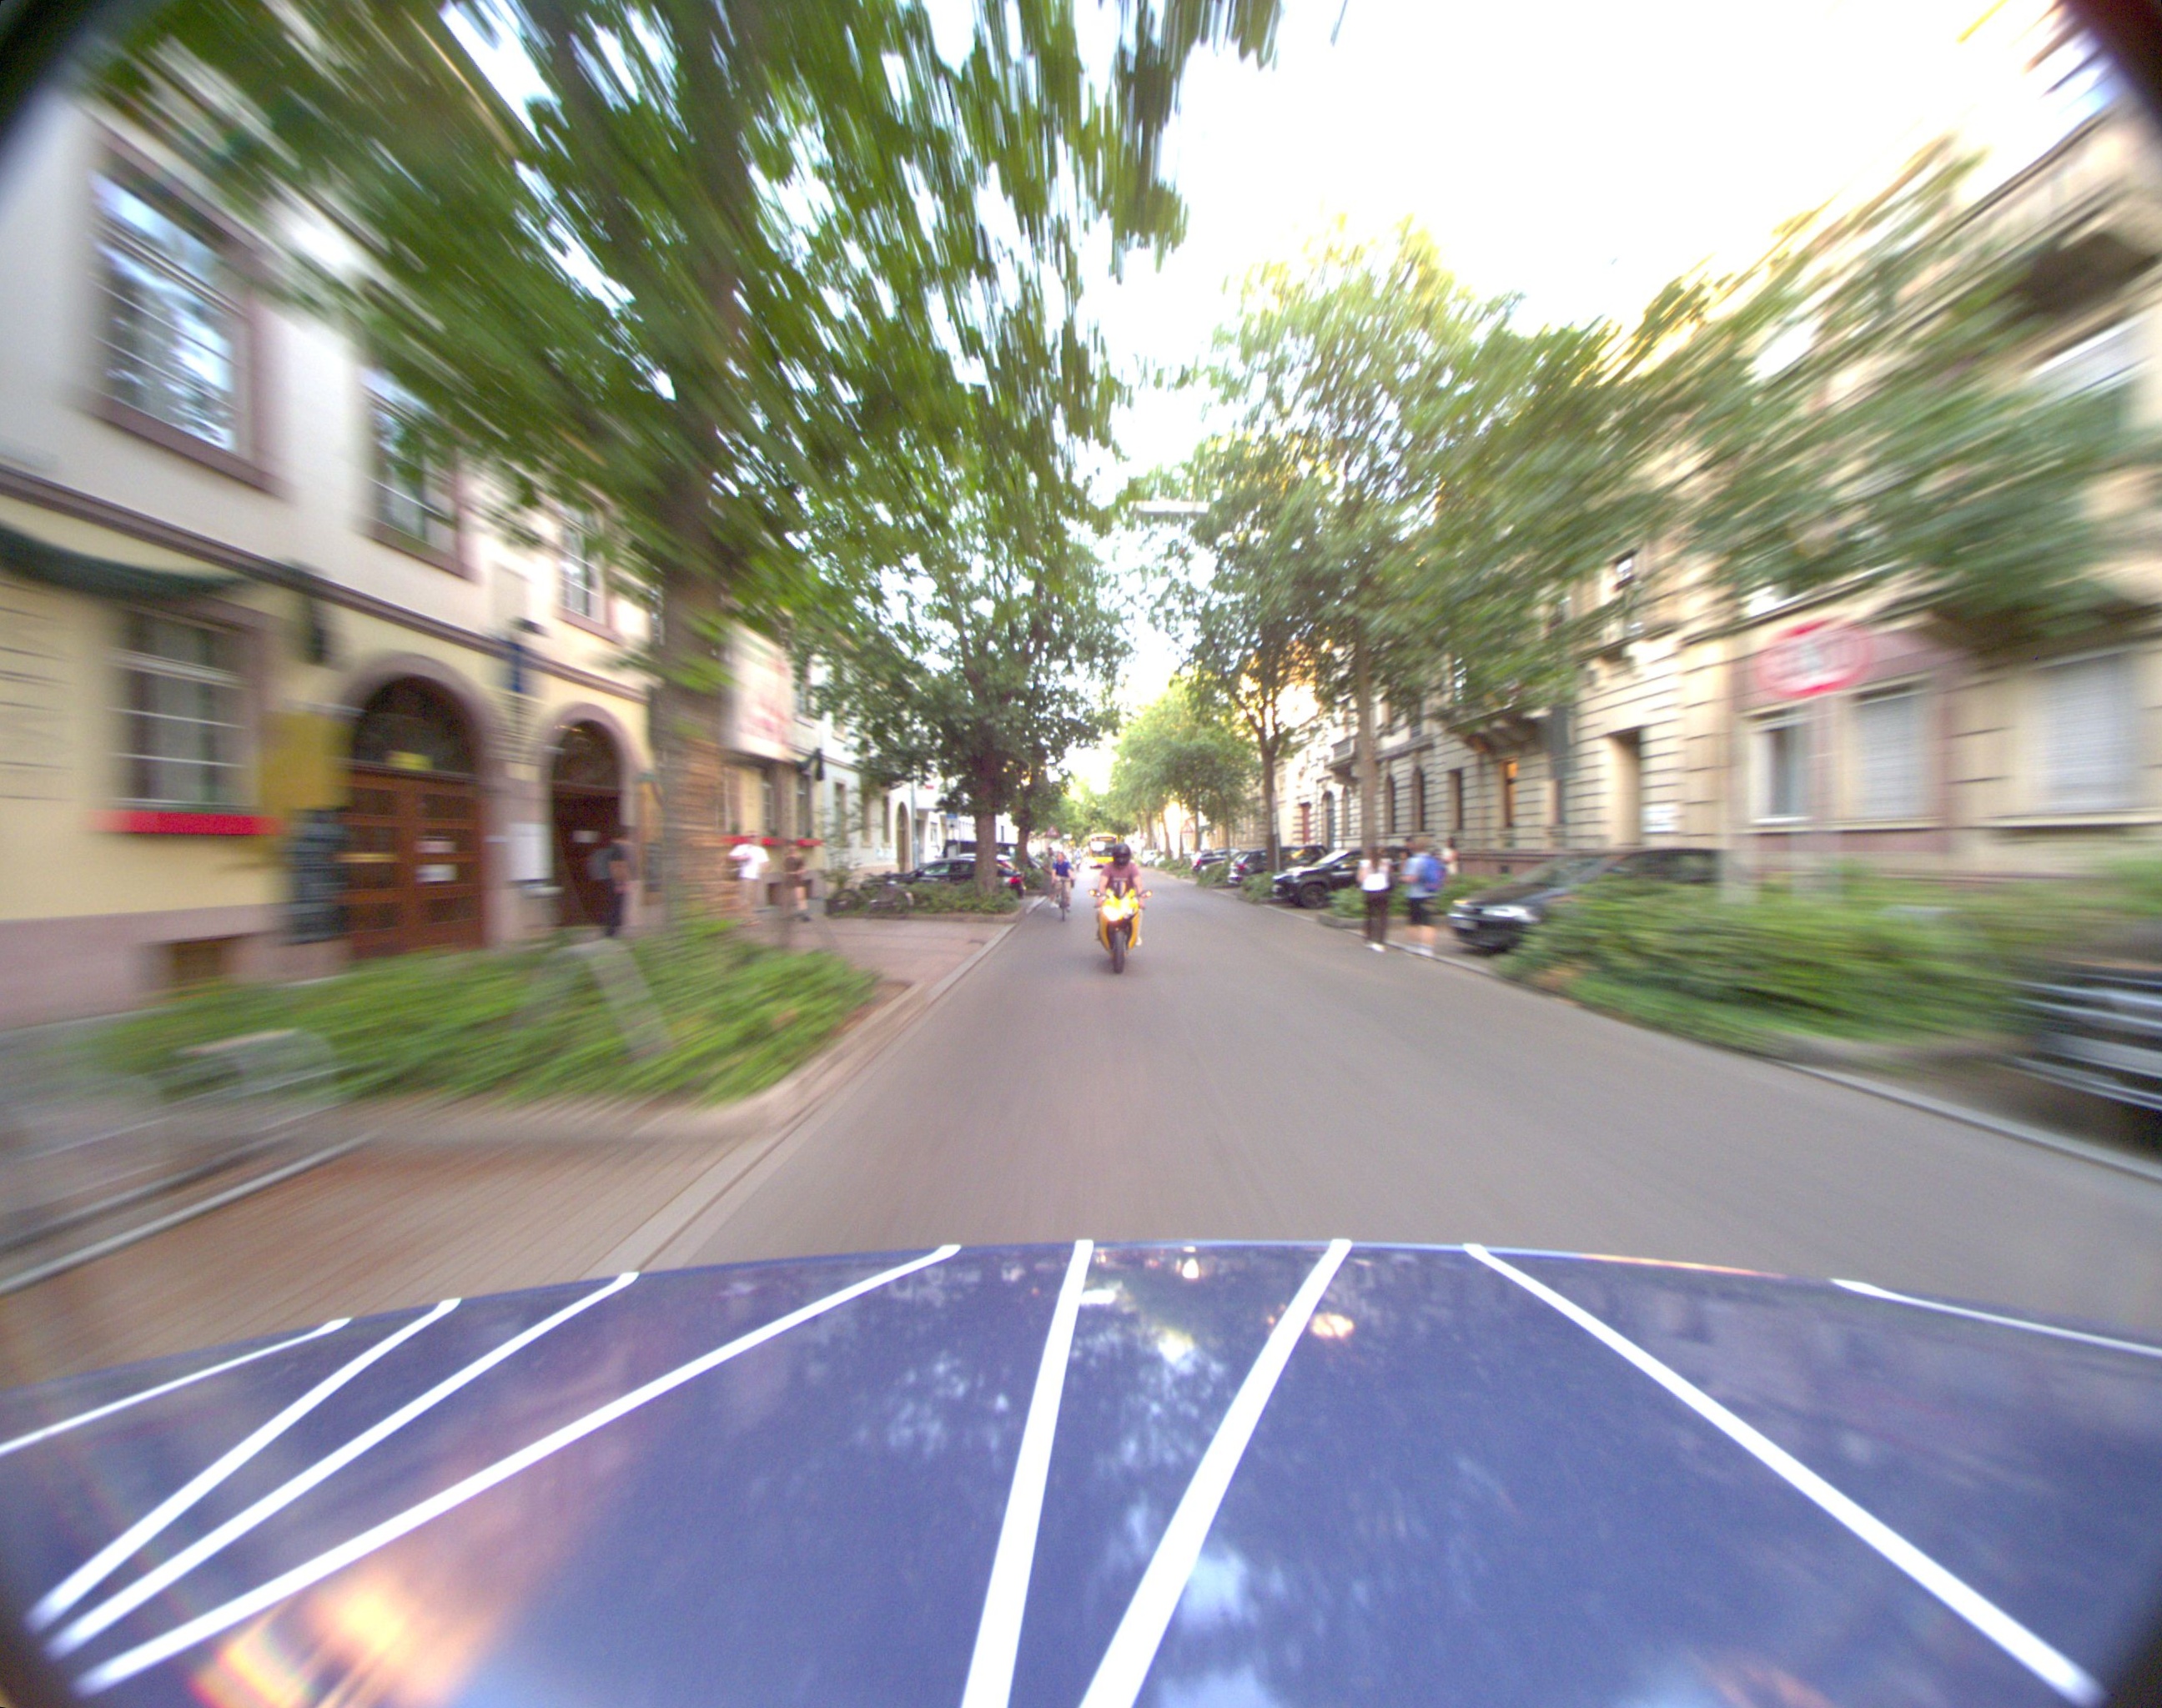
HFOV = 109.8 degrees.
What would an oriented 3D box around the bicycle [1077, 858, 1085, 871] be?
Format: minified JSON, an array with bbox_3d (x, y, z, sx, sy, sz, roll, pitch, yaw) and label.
[{"bbox_3d":[0.003,0.831,61.842,0.637,0.977,1.981,-3,0,-1],"label":"bicycle"}]

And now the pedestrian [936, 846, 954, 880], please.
[{"bbox_3d":[-6.506,0.439,36.373,0.670,1.589,0.737,-2,1,1],"label":"pedestrian"}]

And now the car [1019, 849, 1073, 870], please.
[{"bbox_3d":[-2.760,0.456,60.826,4.119,1.608,1.961,-1,1,2],"label":"car"}]

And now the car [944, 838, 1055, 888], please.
[{"bbox_3d":[-3.609,0.394,34.226,4.701,1.999,2.037,2,1,0],"label":"car"}]

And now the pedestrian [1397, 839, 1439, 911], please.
[{"bbox_3d":[8.343,0.521,18.825,0.736,1.729,0.671,-2,1,8],"label":"pedestrian"}]

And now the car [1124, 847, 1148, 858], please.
[{"bbox_3d":[9.998,-0.251,138.985,3.999,1.940,1.999,-1,1,-7],"label":"car"}]

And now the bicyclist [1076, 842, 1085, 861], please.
[{"bbox_3d":[-0.054,-0.195,61.824,0.637,1.552,0.818,-3,0,-1],"label":"bicyclist"}]

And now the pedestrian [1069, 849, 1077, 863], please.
[{"bbox_3d":[-0.902,0.214,85.383,0.600,1.503,0.719,1,1,-28],"label":"pedestrian"}]

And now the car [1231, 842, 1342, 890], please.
[{"bbox_3d":[8.015,0.462,29.836,3.810,1.662,1.714,-3,0,0],"label":"car"}]

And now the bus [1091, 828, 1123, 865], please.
[{"bbox_3d":[2.352,-0.673,72.800,2.668,3.176,11.898,-2,0,1],"label":"bus"}]

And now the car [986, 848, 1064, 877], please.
[{"bbox_3d":[-3.419,0.493,47.131,4.602,1.569,1.944,2,1,0],"label":"car"}]

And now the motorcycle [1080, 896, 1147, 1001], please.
[{"bbox_3d":[0.408,1.120,9.554,0.737,1.053,1.964,-1,1,3],"label":"motorcycle"}]

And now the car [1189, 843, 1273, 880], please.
[{"bbox_3d":[7.824,0.362,39.878,3.975,1.587,1.780,-5,1,1],"label":"car"}]

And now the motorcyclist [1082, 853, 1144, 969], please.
[{"bbox_3d":[0.412,0.700,9.686,0.737,1.404,0.726,-1,1,3],"label":"motorcyclist"}]

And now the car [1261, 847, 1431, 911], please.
[{"bbox_3d":[7.064,0.652,20.574,3.954,1.523,1.907,-2,1,3],"label":"car"}]

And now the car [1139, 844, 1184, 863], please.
[{"bbox_3d":[8.449,-0.066,80.211,4.436,1.712,1.890,-3,1,-1],"label":"car"}]

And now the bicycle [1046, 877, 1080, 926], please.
[{"bbox_3d":[-0.400,1.103,18.148,0.674,1.024,1.977,-3,0,1],"label":"bicycle"}]

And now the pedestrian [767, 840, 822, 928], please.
[{"bbox_3d":[-5.802,0.587,15.423,0.706,1.728,0.727,1,0,21],"label":"pedestrian"}]

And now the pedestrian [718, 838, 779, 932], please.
[{"bbox_3d":[-6.294,0.568,14.399,0.712,1.728,0.749,1,0,21],"label":"pedestrian"}]

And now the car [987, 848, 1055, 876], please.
[{"bbox_3d":[-3.473,0.455,44.349,3.802,1.415,1.697,2,1,0],"label":"car"}]

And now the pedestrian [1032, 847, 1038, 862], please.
[{"bbox_3d":[-5.795,0.039,95.086,0.699,1.844,1.049,0,0,-2],"label":"pedestrian"}]

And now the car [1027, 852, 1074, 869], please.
[{"bbox_3d":[-2.683,0.541,67.470,3.996,1.429,1.794,-1,1,2],"label":"car"}]

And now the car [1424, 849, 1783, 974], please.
[{"bbox_3d":[7.123,0.742,10.678,3.701,1.450,1.872,-3,0,0],"label":"car"}]

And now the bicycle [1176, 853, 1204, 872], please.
[{"bbox_3d":[7.319,0.544,51.090,1.775,1.225,0.500,-1,2,6],"label":"bicycle"}]

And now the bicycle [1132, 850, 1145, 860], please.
[{"bbox_3d":[7.728,0.184,101.597,0.805,1.217,2.422,-5,-2,25],"label":"bicycle"}]

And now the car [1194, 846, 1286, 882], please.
[{"bbox_3d":[7.555,0.485,36.371,3.974,1.379,1.765,-4,0,2],"label":"car"}]

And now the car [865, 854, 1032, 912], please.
[{"bbox_3d":[-3.675,0.794,21.698,4.412,1.386,1.885,2,1,-1],"label":"car"}]

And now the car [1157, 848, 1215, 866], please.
[{"bbox_3d":[8.596,0.242,62.379,4.524,1.382,1.916,-1,1,2],"label":"car"}]

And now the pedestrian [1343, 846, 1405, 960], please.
[{"bbox_3d":[4.492,0.715,11.631,0.795,1.661,0.833,0,1,27],"label":"pedestrian"}]

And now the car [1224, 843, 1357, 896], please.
[{"bbox_3d":[7.429,0.550,27.272,4.211,1.662,1.907,-3,0,1],"label":"car"}]

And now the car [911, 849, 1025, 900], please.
[{"bbox_3d":[-3.925,0.700,26.813,3.689,1.569,1.714,2,1,2],"label":"car"}]

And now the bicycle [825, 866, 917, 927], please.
[{"bbox_3d":[-4.456,0.896,16.237,1.800,1.226,0.673,2,1,-8],"label":"bicycle"}]

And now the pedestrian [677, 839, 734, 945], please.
[{"bbox_3d":[-6.307,0.619,12.785,0.616,1.728,0.623,1,0,1],"label":"pedestrian"}]

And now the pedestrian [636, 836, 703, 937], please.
[{"bbox_3d":[-7.353,0.565,13.600,0.725,1.728,0.746,1,0,28],"label":"pedestrian"}]

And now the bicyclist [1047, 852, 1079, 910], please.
[{"bbox_3d":[-0.422,0.634,18.297,0.674,1.355,0.776,-3,1,1],"label":"bicyclist"}]

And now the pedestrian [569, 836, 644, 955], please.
[{"bbox_3d":[-7.183,0.616,11.535,0.779,1.728,0.683,1,0,-15],"label":"pedestrian"}]

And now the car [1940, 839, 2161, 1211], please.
[{"bbox_3d":[7.046,0.690,3.271,4.436,1.641,1.873,-3,0,2],"label":"car"}]

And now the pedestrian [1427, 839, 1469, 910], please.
[{"bbox_3d":[9.209,0.503,19.078,0.736,1.729,0.671,-2,1,8],"label":"pedestrian"}]

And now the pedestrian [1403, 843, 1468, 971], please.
[{"bbox_3d":[5.048,0.710,10.795,0.795,1.727,0.833,0,1,27],"label":"pedestrian"}]

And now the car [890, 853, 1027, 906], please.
[{"bbox_3d":[-3.824,0.790,24.169,3.997,1.429,1.926,2,1,-1],"label":"car"}]

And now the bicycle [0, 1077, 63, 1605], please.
[{"bbox_3d":[-3.367,1.114,1.484,1.834,1.172,0.673,0,1,0],"label":"bicycle"}]

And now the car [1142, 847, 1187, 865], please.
[{"bbox_3d":[7.933,0.195,72.710,4.180,1.548,1.827,-1,1,4],"label":"car"}]

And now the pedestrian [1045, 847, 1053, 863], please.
[{"bbox_3d":[-3.600,0.067,85.179,0.574,1.764,0.546,2,1,44],"label":"pedestrian"}]
